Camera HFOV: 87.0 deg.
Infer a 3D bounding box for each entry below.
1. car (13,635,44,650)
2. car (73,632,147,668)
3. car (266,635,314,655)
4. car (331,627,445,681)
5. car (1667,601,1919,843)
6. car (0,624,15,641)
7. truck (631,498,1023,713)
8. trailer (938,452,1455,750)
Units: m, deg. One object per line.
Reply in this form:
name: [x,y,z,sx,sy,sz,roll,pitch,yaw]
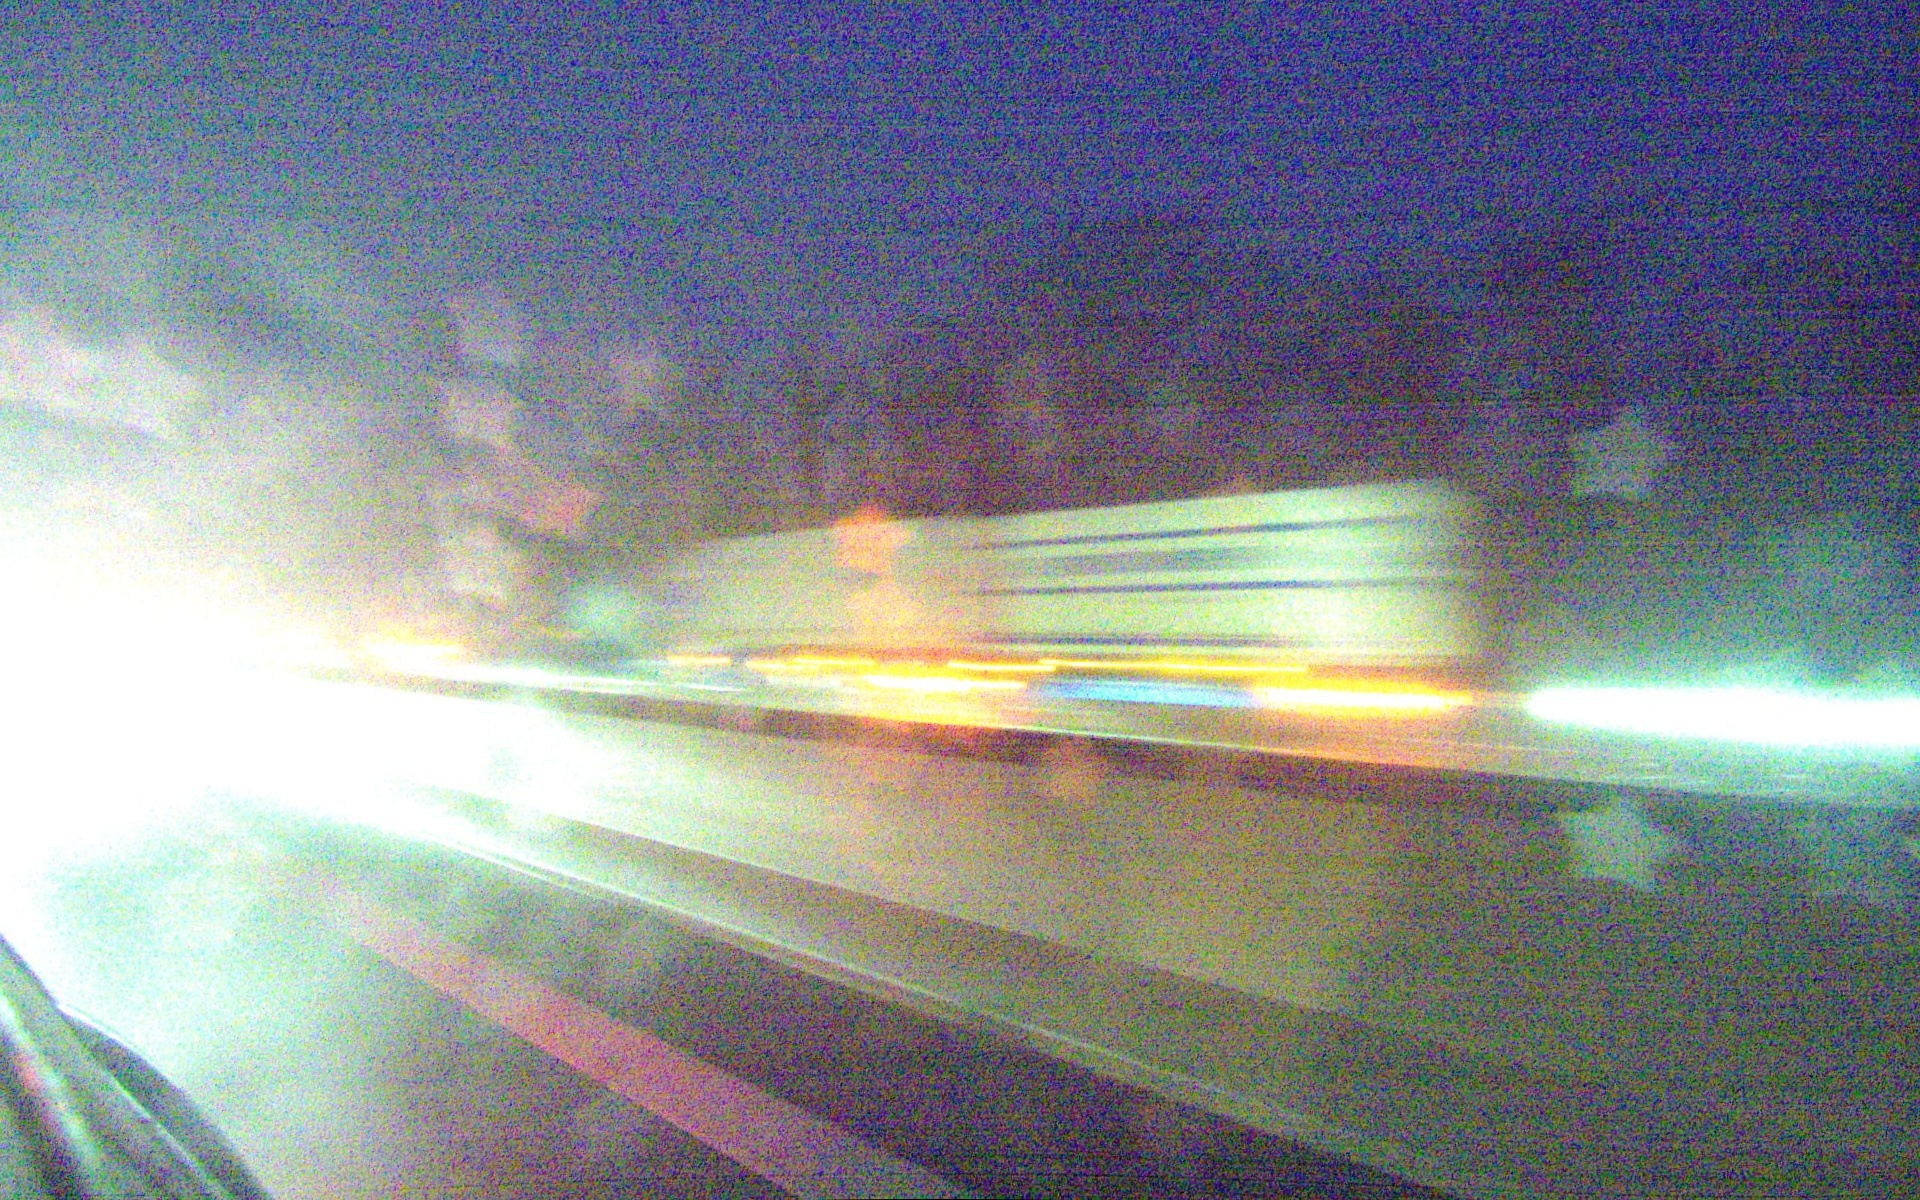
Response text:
car: [-100.432,4.571,109.122,4.498,1.629,1.853,-2,-4,40]
car: [-34.901,2.028,41.525,4.115,1.372,1.735,-2,-3,42]
car: [-52.801,3.509,79.712,4.347,1.482,1.845,-1,0,37]
car: [-17.740,1.641,31.315,4.112,1.537,1.736,-2,-3,40]
car: [8.665,0.923,7.973,4.878,1.837,2.041,-1,0,41]
car: [-95.852,3.274,100.716,4.742,1.629,1.973,-2,-4,40]
truck: [-3.852,0.249,25.466,11.430,4.360,2.900,-1,-3,41]
trailer: [3.901,0.128,18.627,8.932,4.310,2.909,-1,-3,41]
